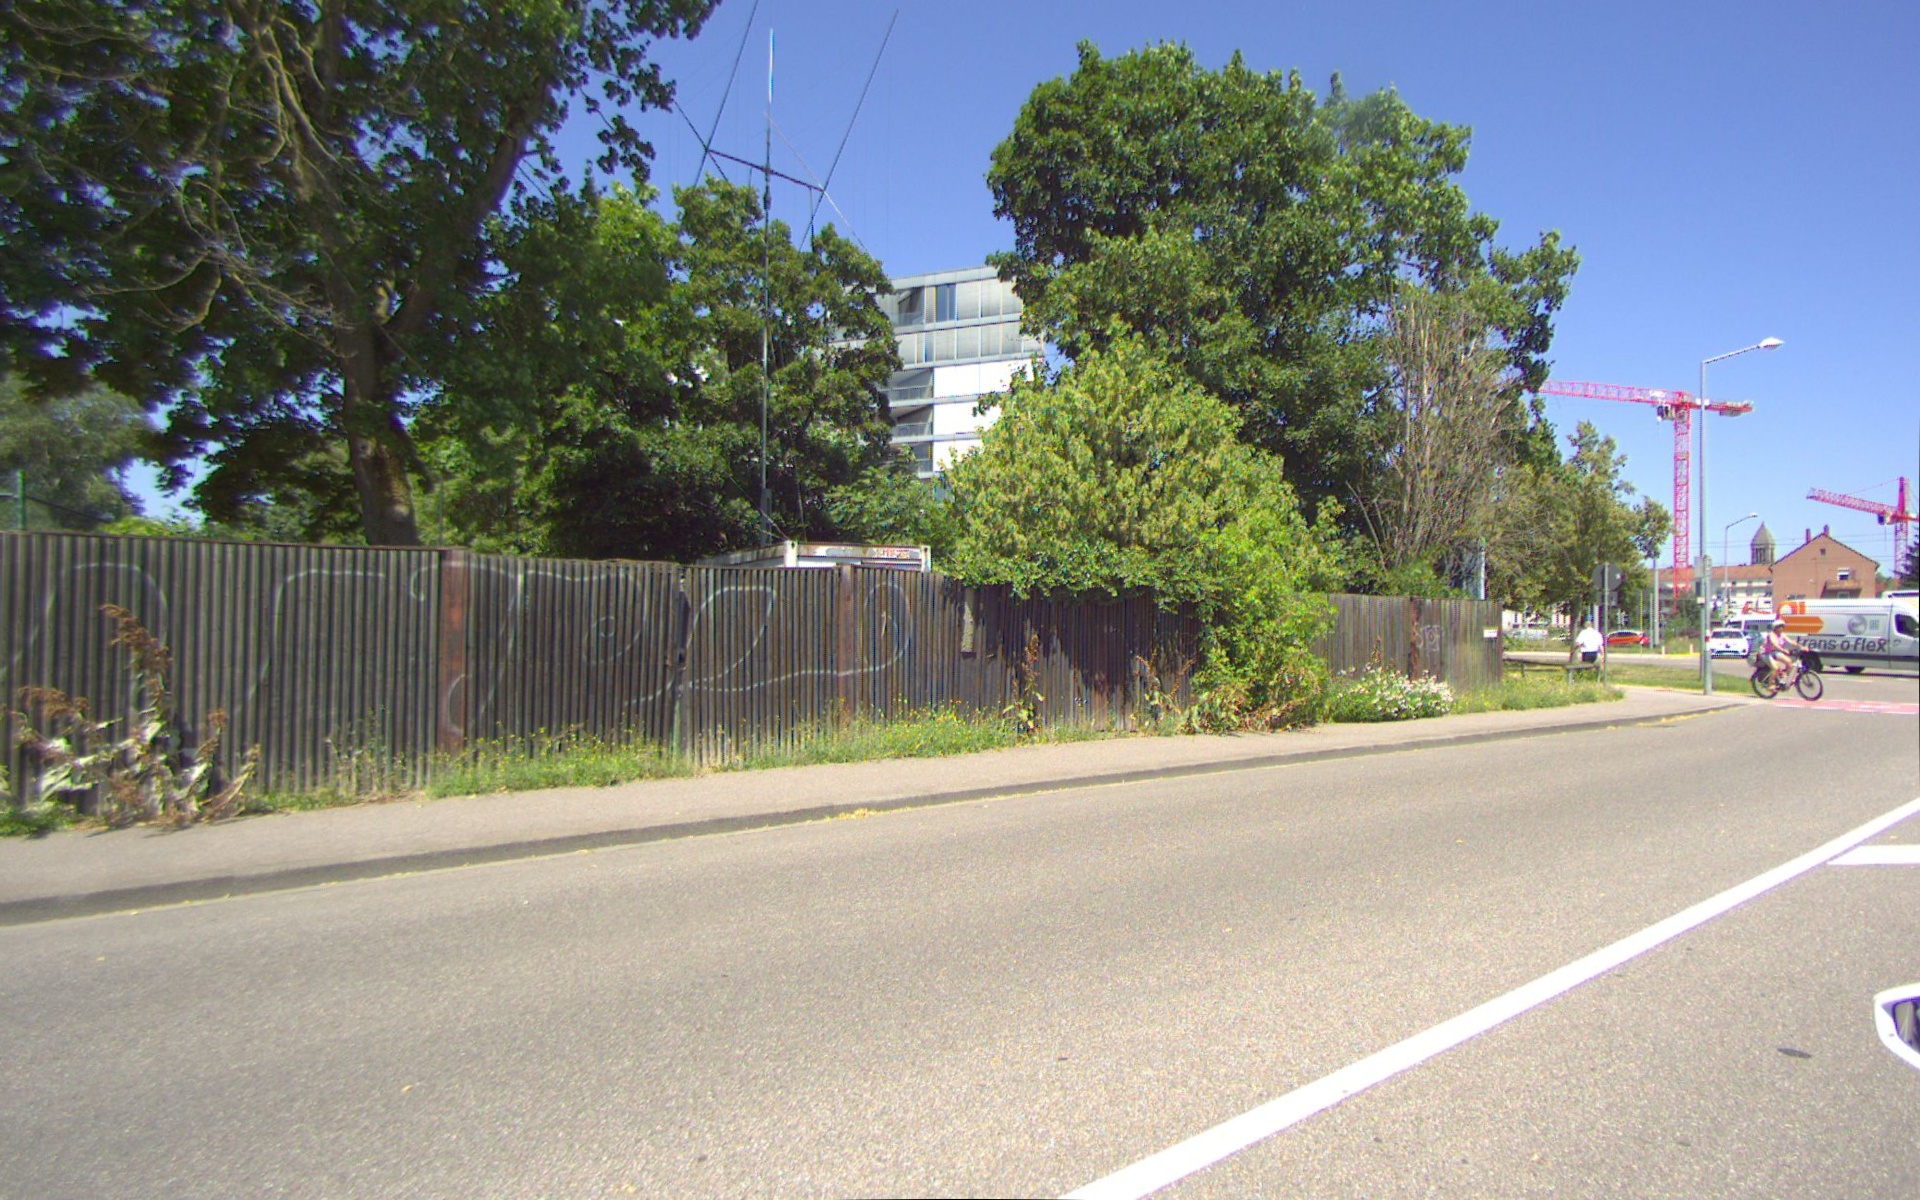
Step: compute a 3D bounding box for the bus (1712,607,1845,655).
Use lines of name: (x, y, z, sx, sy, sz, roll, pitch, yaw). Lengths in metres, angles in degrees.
bus: (60.278, 2.268, 74.174, 7.139, 3.215, 2.259, 2, 0, 25)

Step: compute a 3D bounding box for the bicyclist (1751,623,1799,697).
bicyclist: (19.849, 1.448, 24.473, 0.581, 1.776, 0.671, 0, -1, -9)

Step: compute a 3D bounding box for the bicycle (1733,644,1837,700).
bicycle: (19.873, 1.712, 24.255, 0.622, 1.237, 2.097, 0, -1, -7)

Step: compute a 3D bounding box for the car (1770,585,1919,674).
car: (31.967, 0.987, 34.782, 1.961, 2.865, 6.881, 2, 0, -3)

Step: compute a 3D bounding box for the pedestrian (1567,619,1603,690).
pedestrian: (16.446, 1.415, 26.442, 0.625, 1.810, 0.969, 2, 0, 23)

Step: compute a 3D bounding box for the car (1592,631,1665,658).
car: (49.969, 3.312, 75.207, 4.366, 1.759, 1.845, 2, 0, 31)

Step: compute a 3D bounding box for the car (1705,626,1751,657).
car: (40.331, 2.146, 52.812, 1.752, 1.547, 3.860, -1, -2, 35)
